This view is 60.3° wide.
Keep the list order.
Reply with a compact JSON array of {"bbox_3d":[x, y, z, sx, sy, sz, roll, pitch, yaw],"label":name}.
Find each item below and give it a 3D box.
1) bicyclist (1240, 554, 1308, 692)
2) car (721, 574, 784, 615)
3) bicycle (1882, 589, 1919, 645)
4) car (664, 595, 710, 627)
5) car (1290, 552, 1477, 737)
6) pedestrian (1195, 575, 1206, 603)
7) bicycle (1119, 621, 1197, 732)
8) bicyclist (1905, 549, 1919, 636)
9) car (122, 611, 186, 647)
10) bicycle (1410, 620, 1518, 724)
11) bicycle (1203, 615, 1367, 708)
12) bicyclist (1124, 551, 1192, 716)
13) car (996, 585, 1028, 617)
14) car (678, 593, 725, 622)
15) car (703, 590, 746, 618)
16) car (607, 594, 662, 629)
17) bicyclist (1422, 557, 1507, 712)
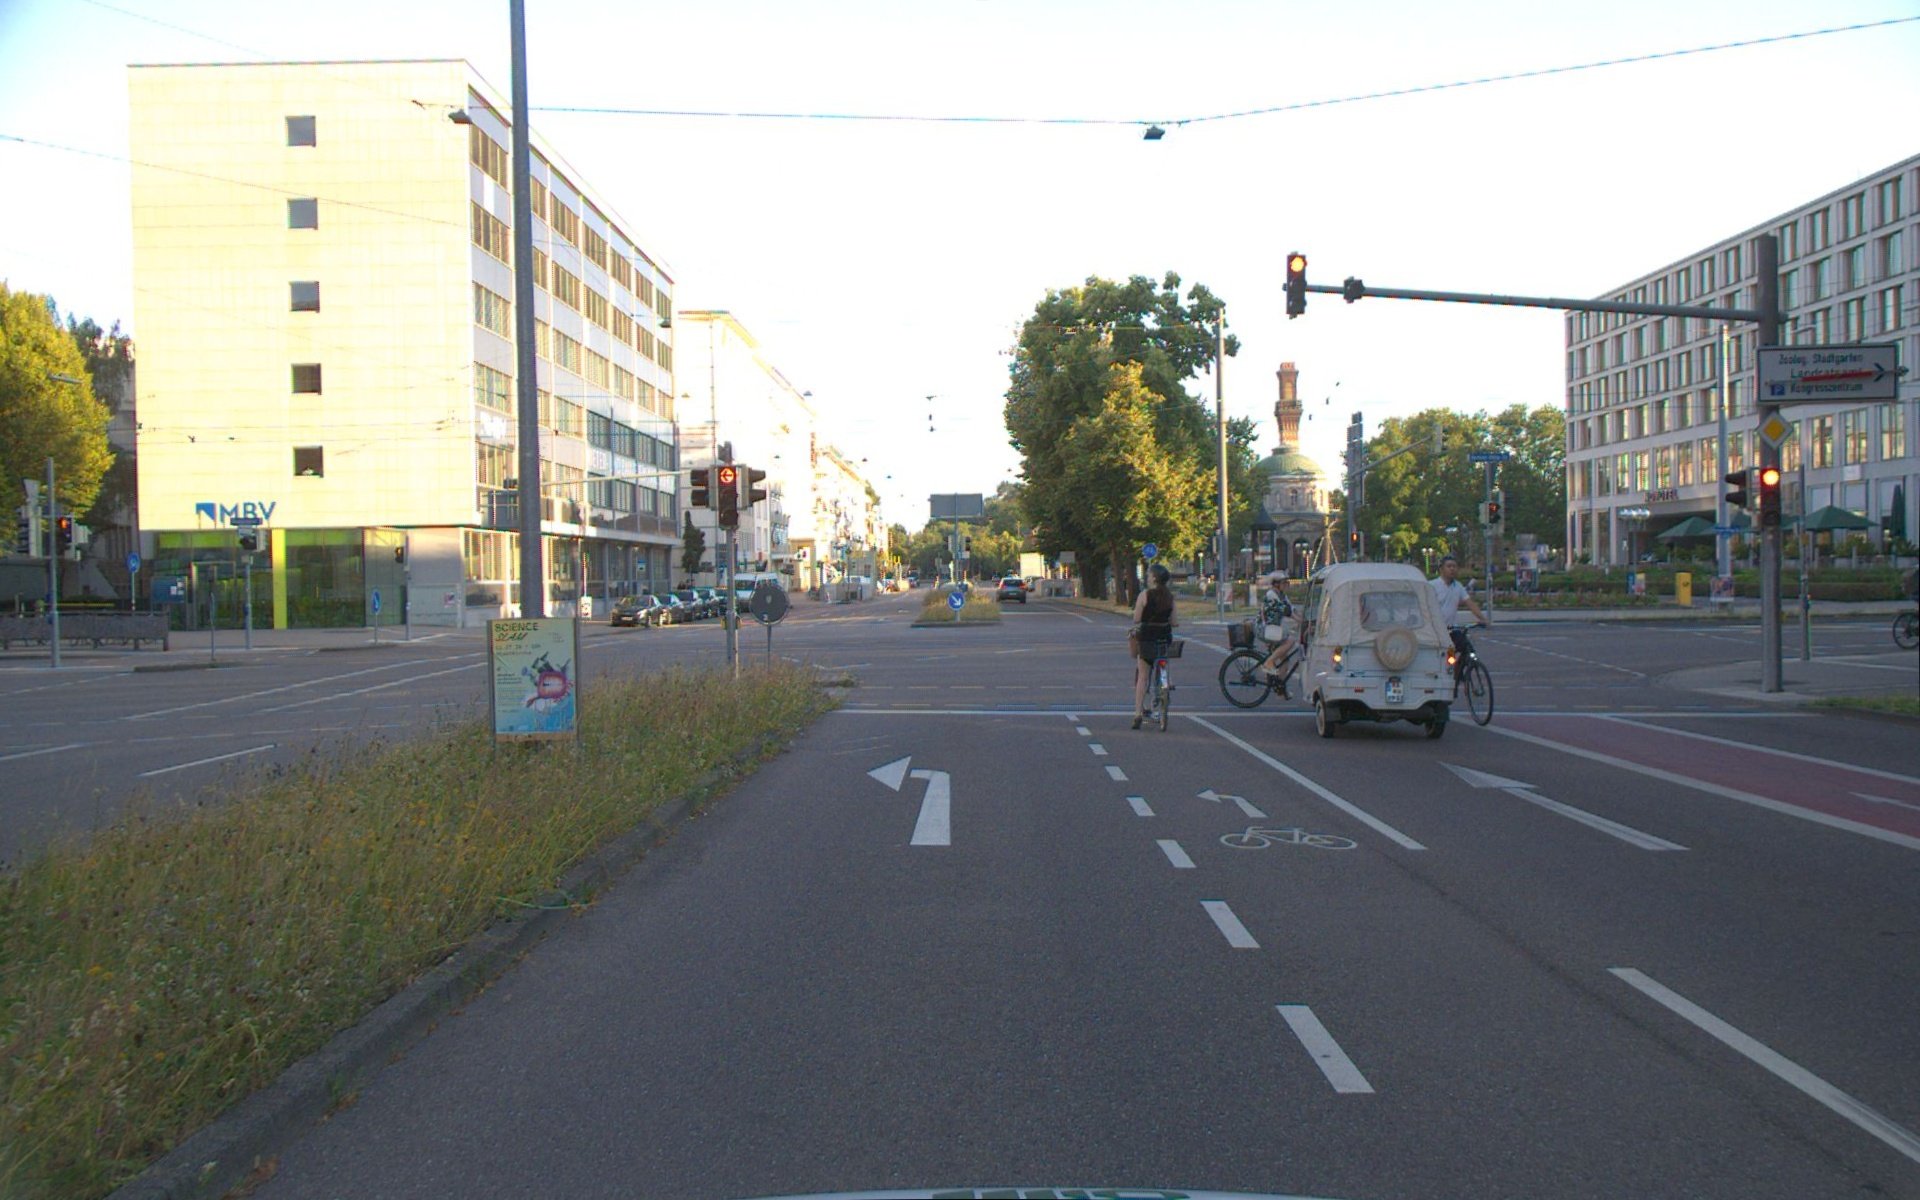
[{"bbox_3d":[4.006,0.286,21.067,0.730,1.722,0.716,-1,0,17],"label":"bicyclist"},{"bbox_3d":[-13.369,-0.335,106.942,2.130,2.427,5.994,-2,-2,12],"label":"car"},{"bbox_3d":[19.298,0.320,32.565,1.857,1.087,0.731,0,0,3],"label":"bicycle"},{"bbox_3d":[-14.410,0.603,87.449,1.759,1.501,3.999,-1,-2,0],"label":"car"},{"bbox_3d":[4.422,0.403,17.549,1.429,1.811,2.566,-1,2,3],"label":"car"},{"bbox_3d":[14.369,-0.663,98.838,0.498,1.697,0.531,-1,0,-1],"label":"pedestrian"},{"bbox_3d":[2.144,0.804,18.137,0.624,1.087,2.069,0,1,0],"label":"bicycle"},{"bbox_3d":[19.174,-0.155,32.561,0.730,1.722,0.715,-1,0,3],"label":"bicyclist"},{"bbox_3d":[-26.350,0.945,54.134,0.836,1.092,2.522,-1,1,0],"label":"car"},{"bbox_3d":[5.813,0.805,19.176,0.713,1.087,1.903,1,1,2],"label":"bicycle"},{"bbox_3d":[4.136,0.769,21.045,1.973,1.087,0.731,1,1,17],"label":"bicycle"},{"bbox_3d":[2.125,0.350,17.819,0.615,1.722,0.748,-1,0,0],"label":"bicyclist"},{"bbox_3d":[3.381,0.046,108.196,1.953,2.049,4.000,-1,1,-1],"label":"car"},{"bbox_3d":[-14.645,0.464,93.952,1.758,1.501,4.001,-1,-2,4],"label":"car"},{"bbox_3d":[-14.282,0.257,100.352,1.758,1.501,4.001,-1,-2,4],"label":"car"},{"bbox_3d":[-15.201,0.572,77.321,1.759,1.501,3.999,-1,-2,0],"label":"car"},{"bbox_3d":[5.784,0.389,18.990,0.746,1.722,0.749,-1,0,4],"label":"bicyclist"}]
